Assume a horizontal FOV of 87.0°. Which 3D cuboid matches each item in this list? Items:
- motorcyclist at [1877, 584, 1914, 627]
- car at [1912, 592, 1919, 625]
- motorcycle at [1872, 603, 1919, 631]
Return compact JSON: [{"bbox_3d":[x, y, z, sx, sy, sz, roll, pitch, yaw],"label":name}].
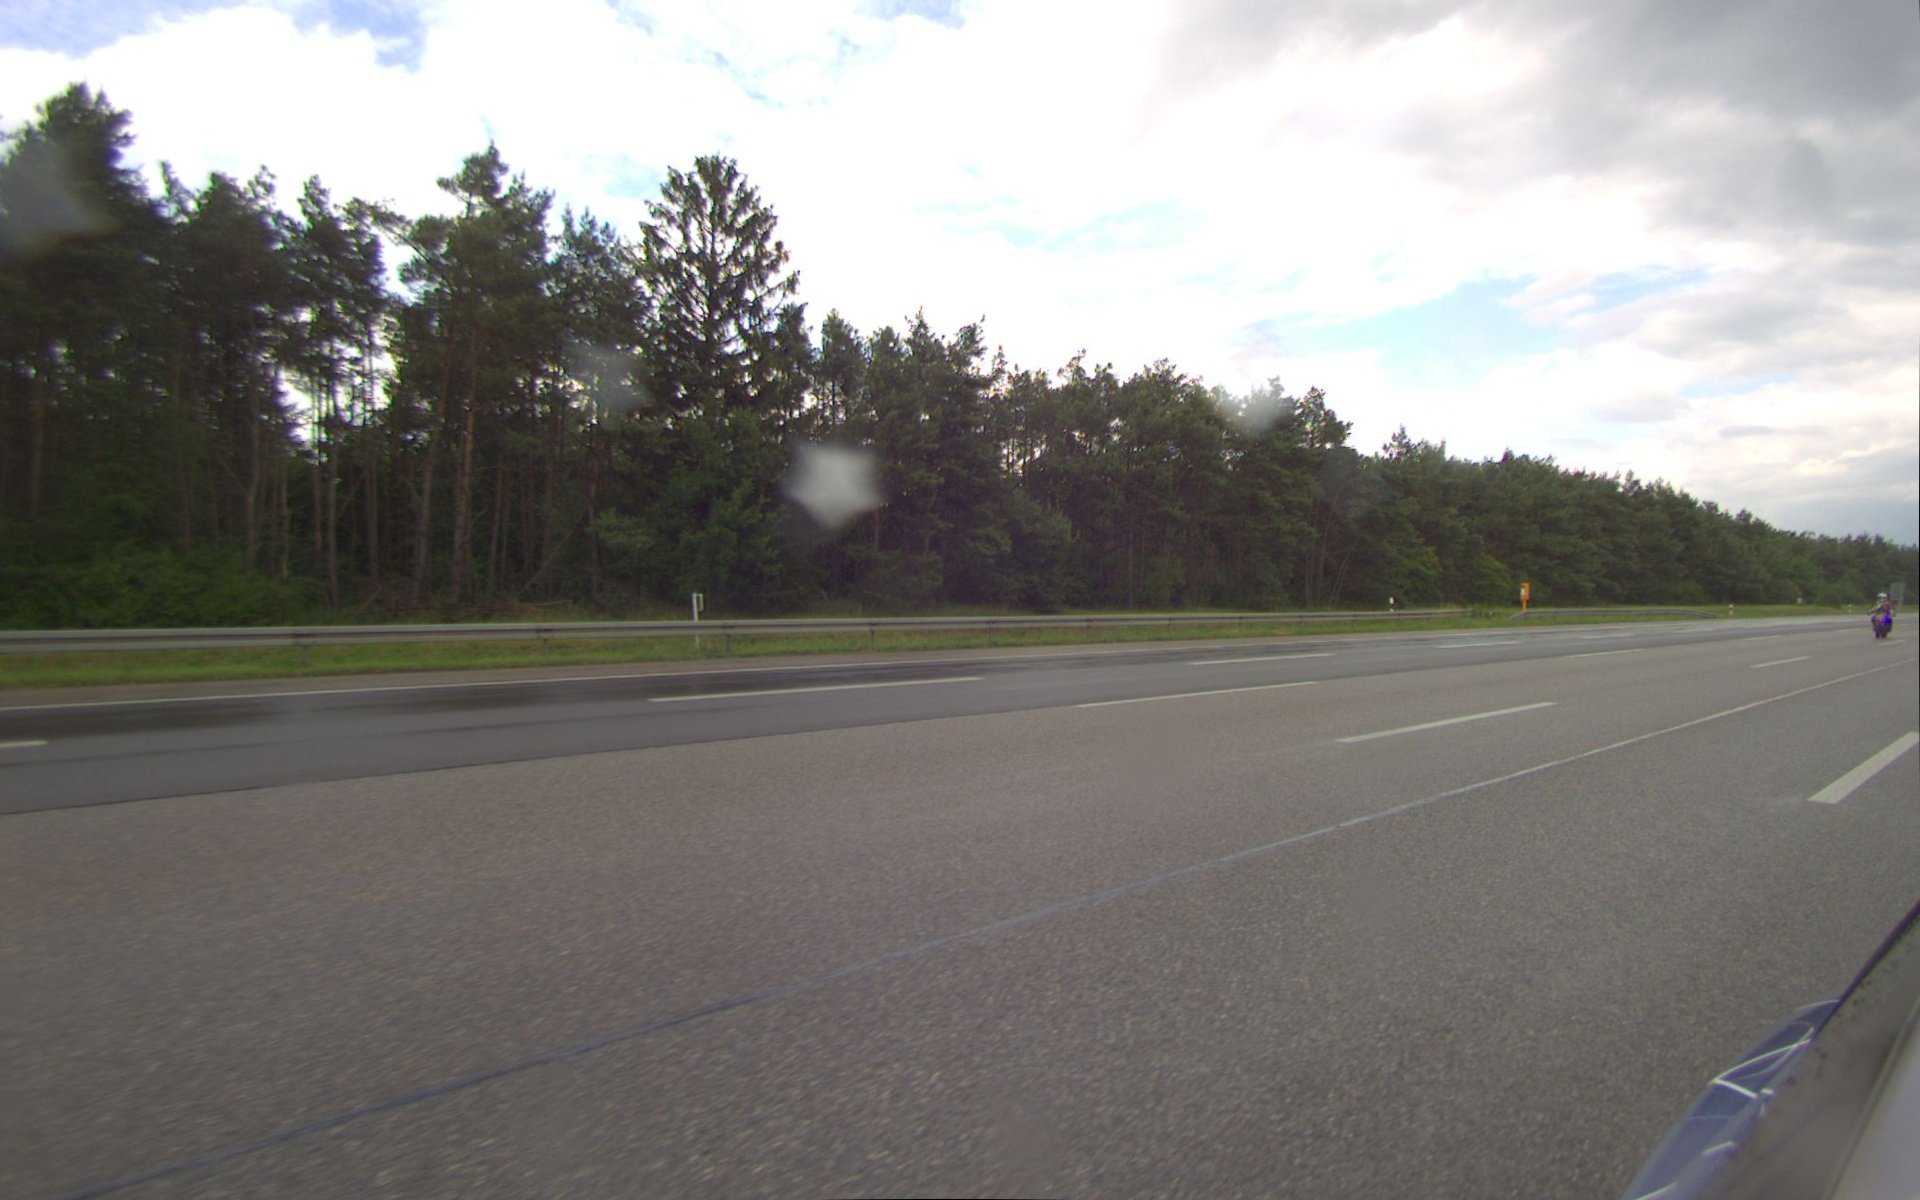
[{"bbox_3d":[36.556,0.211,39.537,0.941,1.635,0.894,0,0,-37],"label":"motorcyclist"},{"bbox_3d":[62.881,0.554,64.620,5.378,2.039,2.000,1,0,-35],"label":"car"},{"bbox_3d":[36.556,0.643,39.546,2.133,1.044,1.002,0,1,-37],"label":"motorcycle"}]
